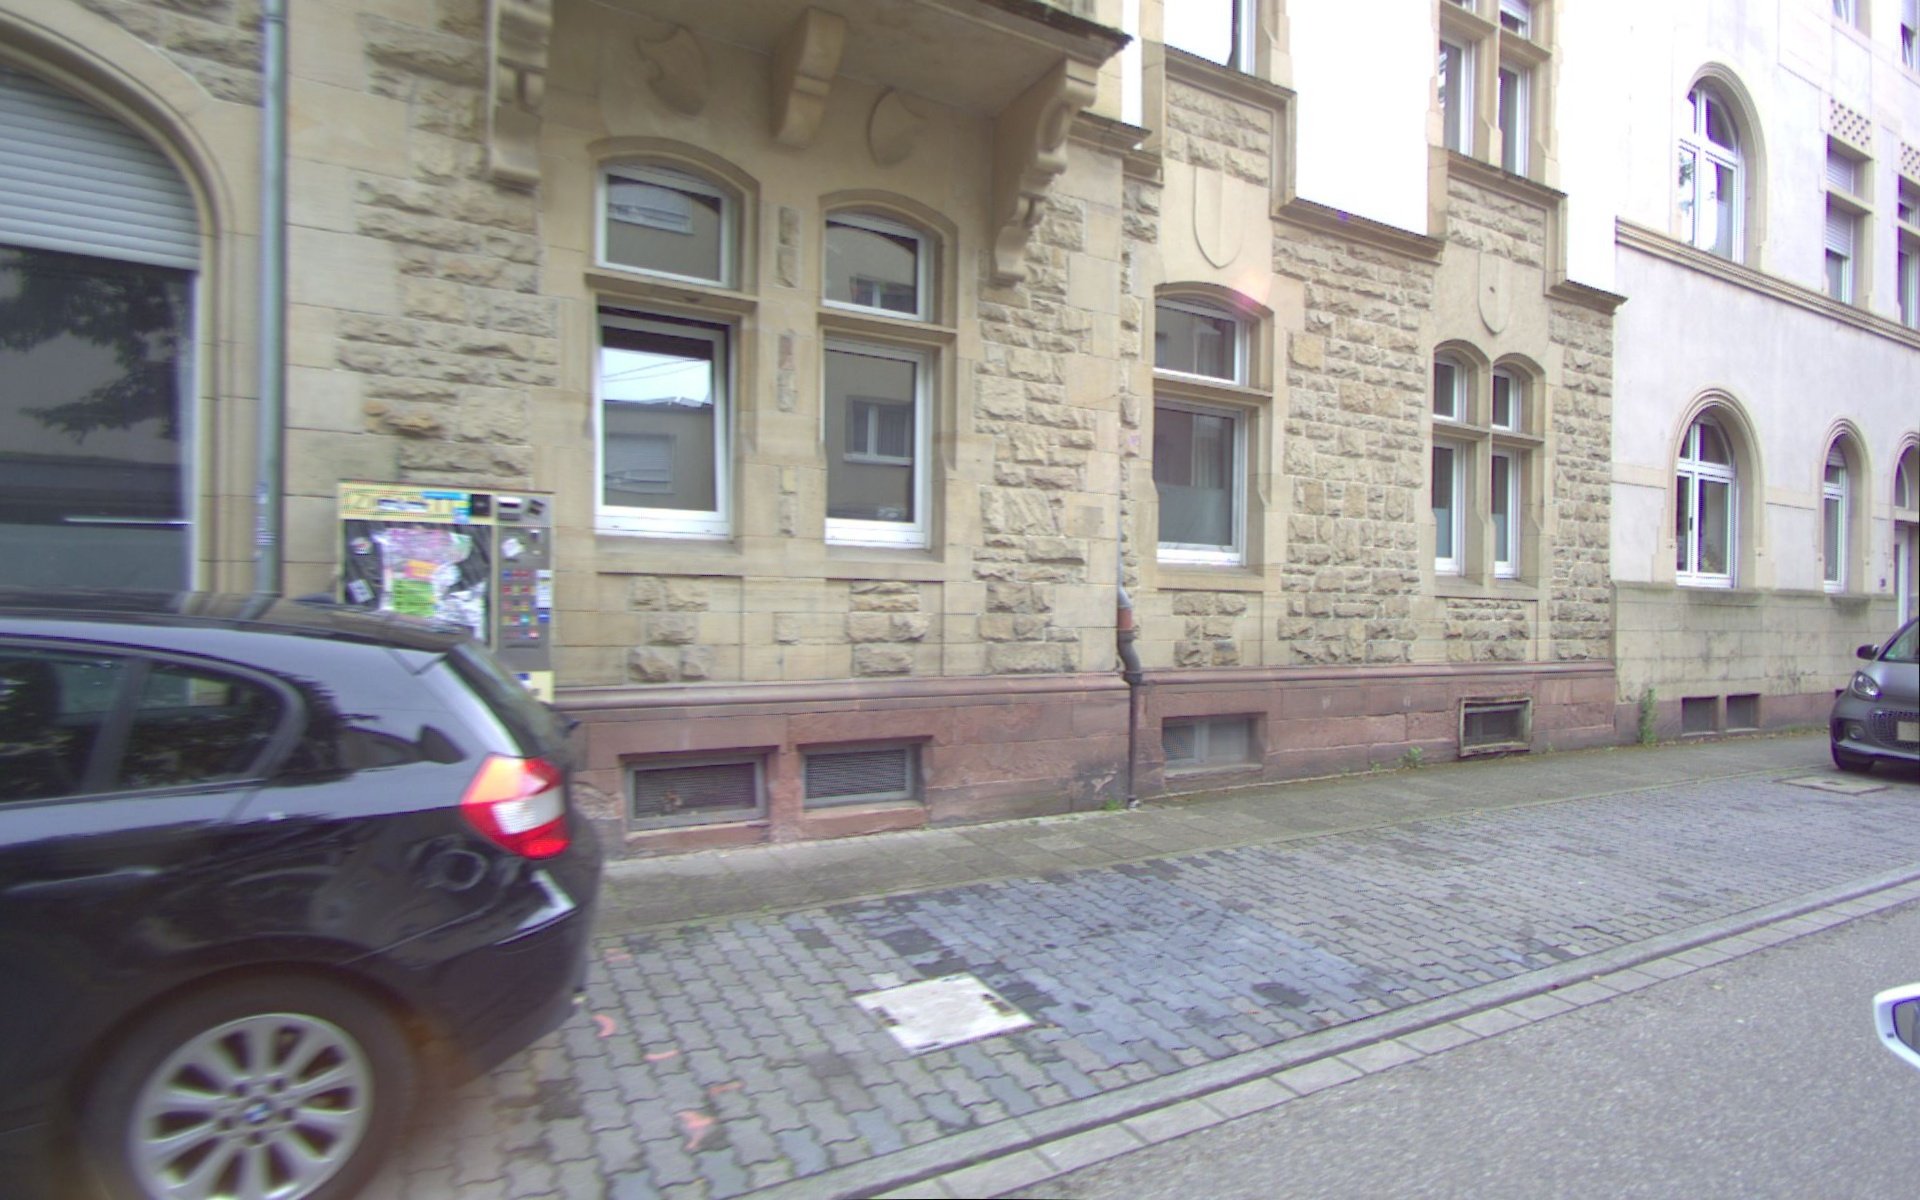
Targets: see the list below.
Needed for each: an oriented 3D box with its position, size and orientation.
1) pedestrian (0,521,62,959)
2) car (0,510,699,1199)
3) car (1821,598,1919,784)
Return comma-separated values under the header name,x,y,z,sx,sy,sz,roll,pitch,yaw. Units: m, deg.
name,x,y,z,sx,sy,sz,roll,pitch,yaw
pedestrian,-3.694,0.488,3.635,0.540,1.538,0.513,1,0,-29
car,-2.846,0.515,2.409,3.951,1.514,1.702,4,0,-28
car,9.635,0.801,9.301,2.921,1.592,1.638,0,2,-30
